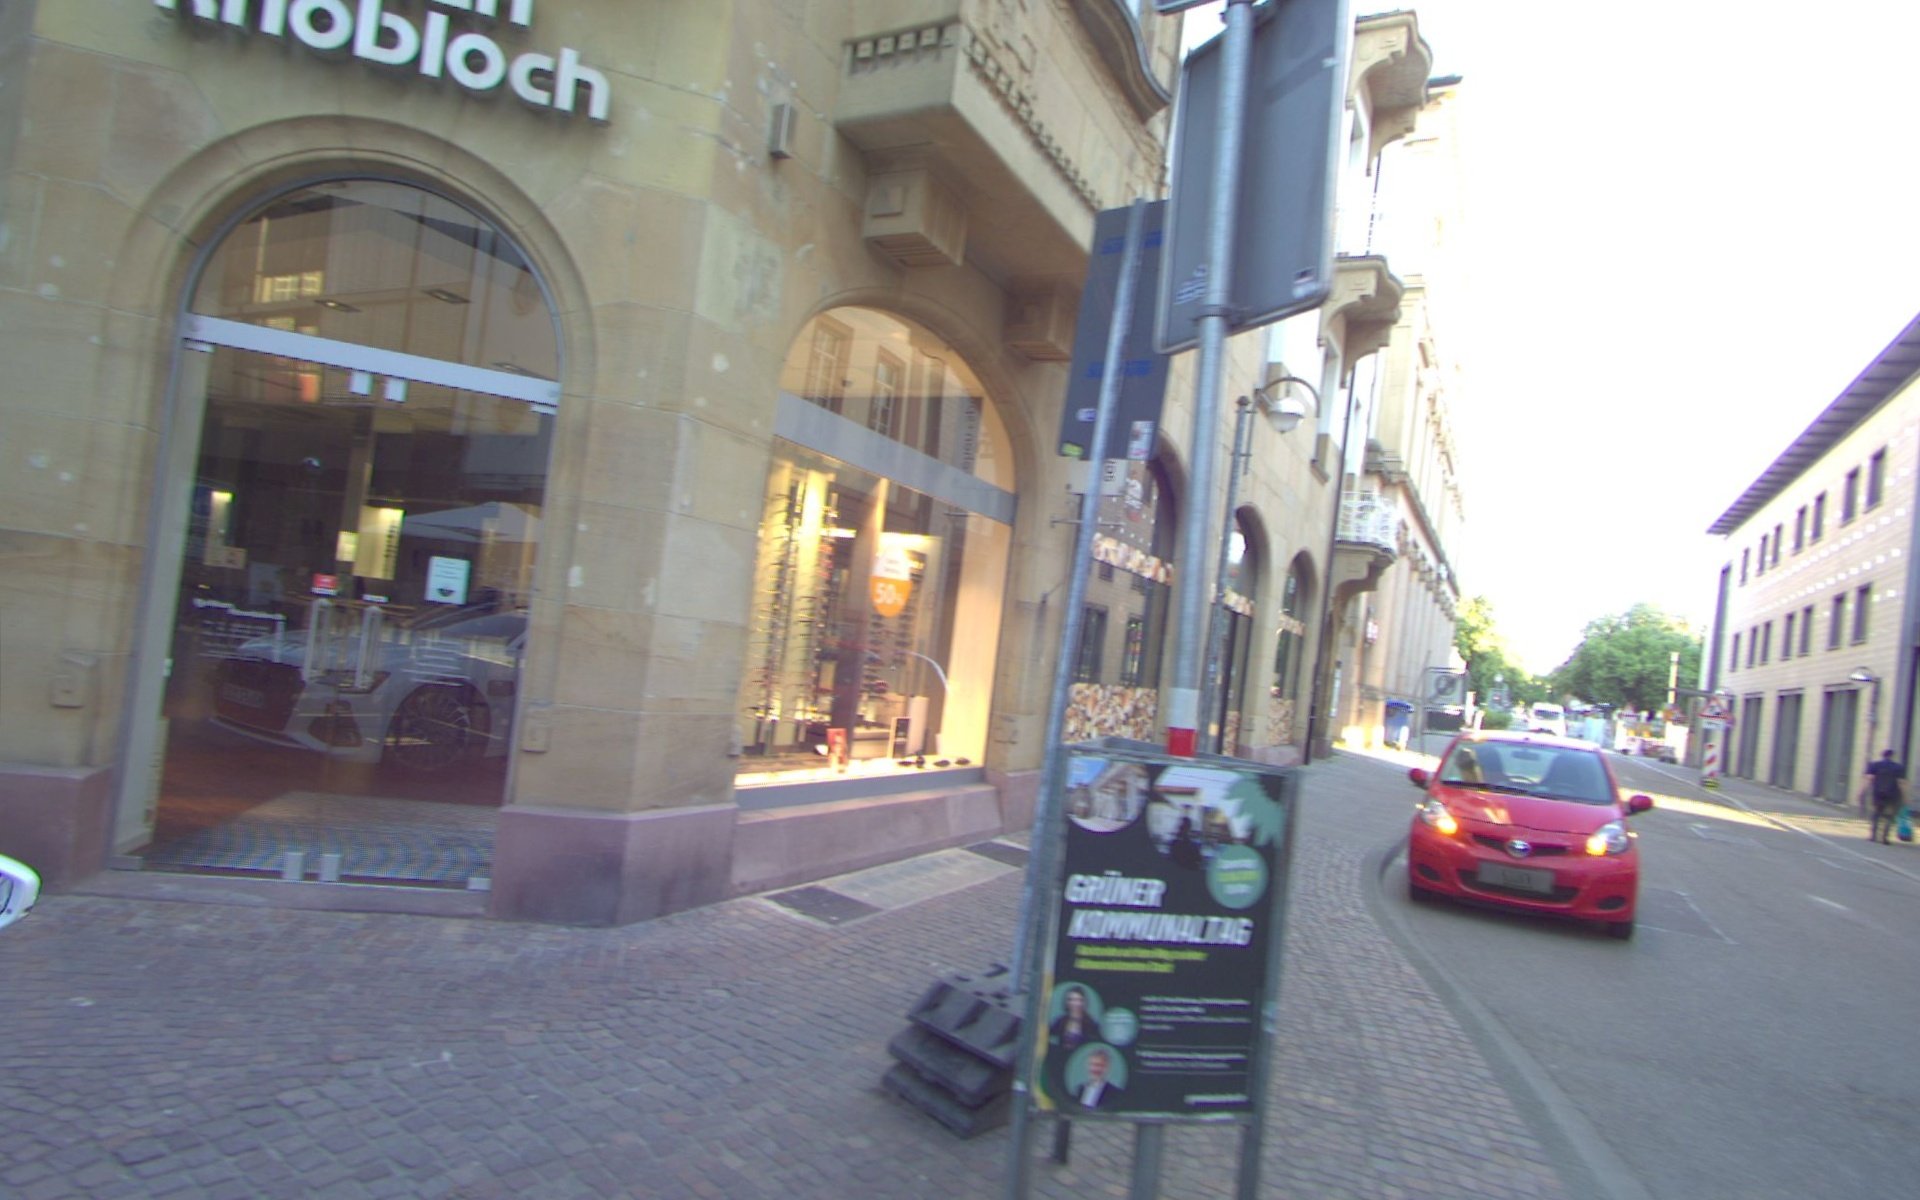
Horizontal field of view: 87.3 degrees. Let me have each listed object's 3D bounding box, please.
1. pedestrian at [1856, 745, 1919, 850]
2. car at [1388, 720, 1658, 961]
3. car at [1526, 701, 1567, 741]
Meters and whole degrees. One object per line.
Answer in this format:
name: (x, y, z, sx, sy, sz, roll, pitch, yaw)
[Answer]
pedestrian: (17.784, 3.737, 19.079, 0.915, 1.799, 0.938, 7, -1, 35)
car: (5.039, 1.896, 8.992, 1.623, 1.458, 3.996, 4, -4, 31)
car: (39.420, 8.119, 67.571, 1.909, 2.331, 3.993, 7, -2, 34)
